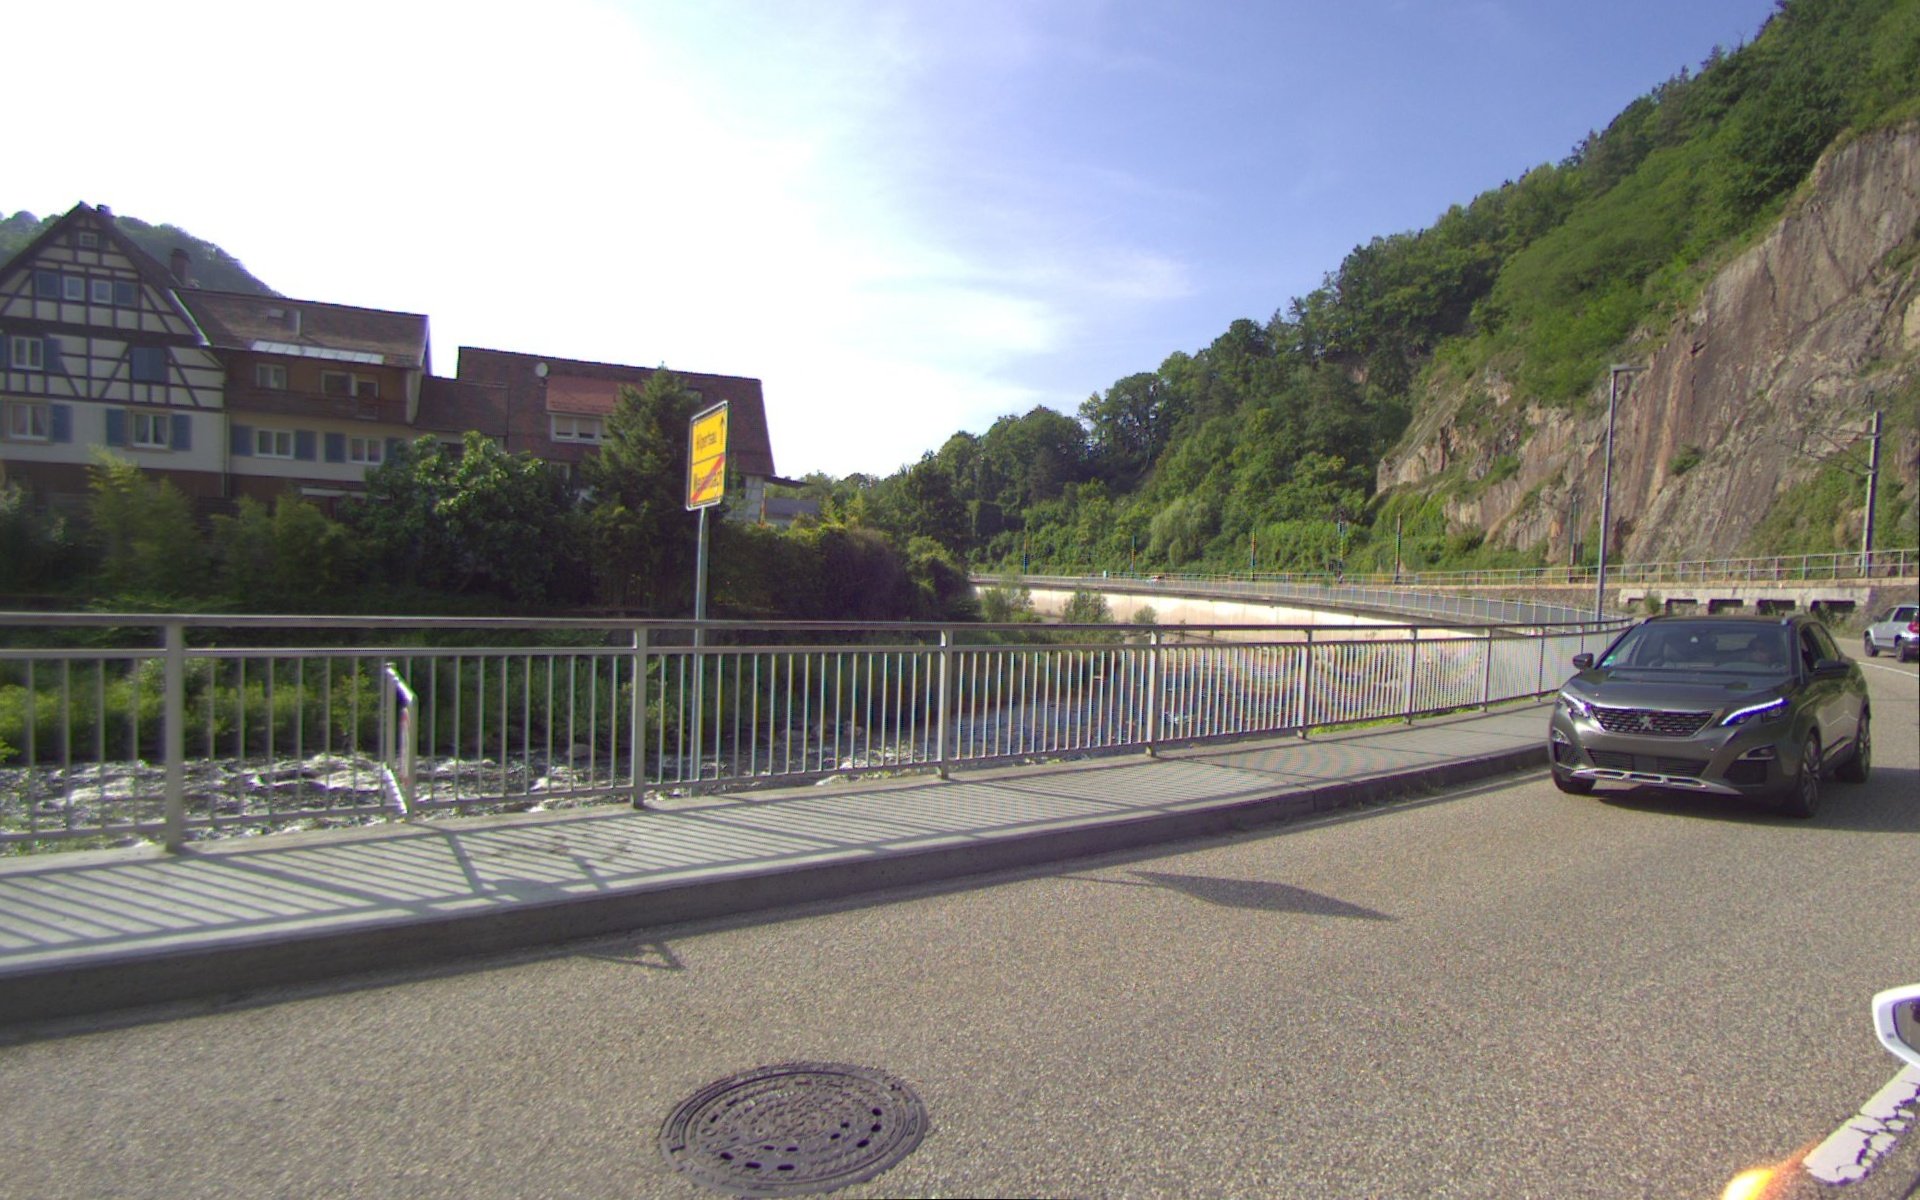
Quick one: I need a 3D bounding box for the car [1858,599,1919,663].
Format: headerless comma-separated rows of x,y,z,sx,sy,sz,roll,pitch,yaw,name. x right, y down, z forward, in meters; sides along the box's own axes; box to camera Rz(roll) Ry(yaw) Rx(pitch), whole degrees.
27.061,0.833,28.369,1.846,1.678,3.990,-1,0,32,car

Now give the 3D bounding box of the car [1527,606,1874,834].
7.016,0.940,9.369,3.970,1.664,1.799,1,-3,-42,car
